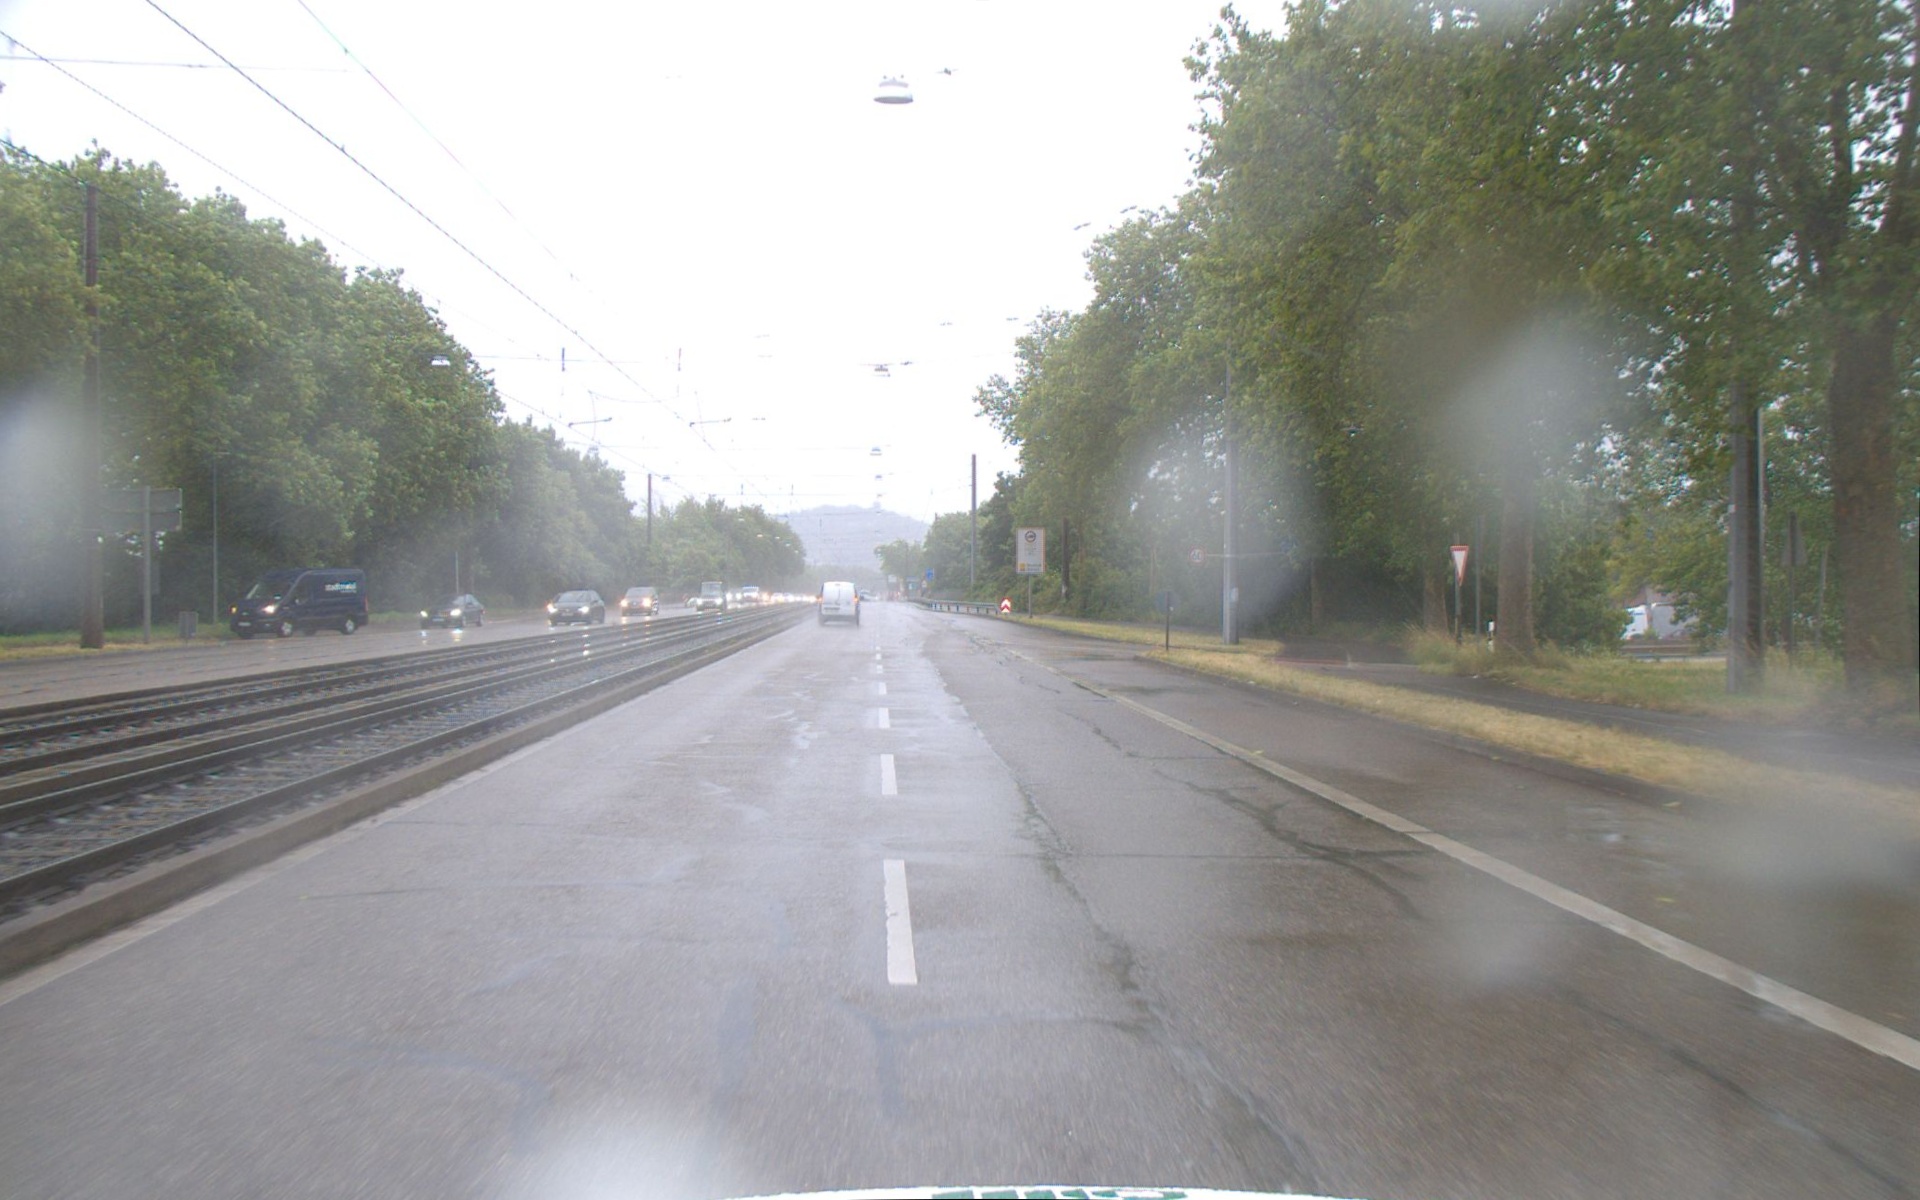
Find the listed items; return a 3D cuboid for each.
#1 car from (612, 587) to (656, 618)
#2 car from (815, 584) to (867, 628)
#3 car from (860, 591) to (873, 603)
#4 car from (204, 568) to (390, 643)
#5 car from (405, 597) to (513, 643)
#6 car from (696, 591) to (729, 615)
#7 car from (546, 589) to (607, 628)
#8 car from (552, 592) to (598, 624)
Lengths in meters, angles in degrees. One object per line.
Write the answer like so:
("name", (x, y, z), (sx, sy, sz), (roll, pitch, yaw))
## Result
("car", (-20.258, 0.108, 102.959), (1.783, 1.735, 6.101), (1, 1, -3))
("car", (-5.000, 0.224, 69.939), (1.949, 1.713, 3.739), (1, 1, -2))
("car", (-12.747, -0.408, 226.197), (1.708, 1.534, 3.698), (1, 1, -3))
("car", (-23.475, 0.164, 58.782), (2.292, 2.468, 5.828), (2, 1, 35))
("car", (-21.503, 0.816, 71.203), (2.039, 1.829, 4.766), (2, 1, 18))
("car", (-17.706, 0.197, 118.415), (1.740, 1.612, 5.678), (1, 1, -3))
("car", (-16.915, 0.347, 73.162), (1.755, 1.576, 5.310), (1, 1, -3))
("car", (-22.960, 0.443, 98.705), (1.783, 1.735, 5.018), (1, 1, -3))
